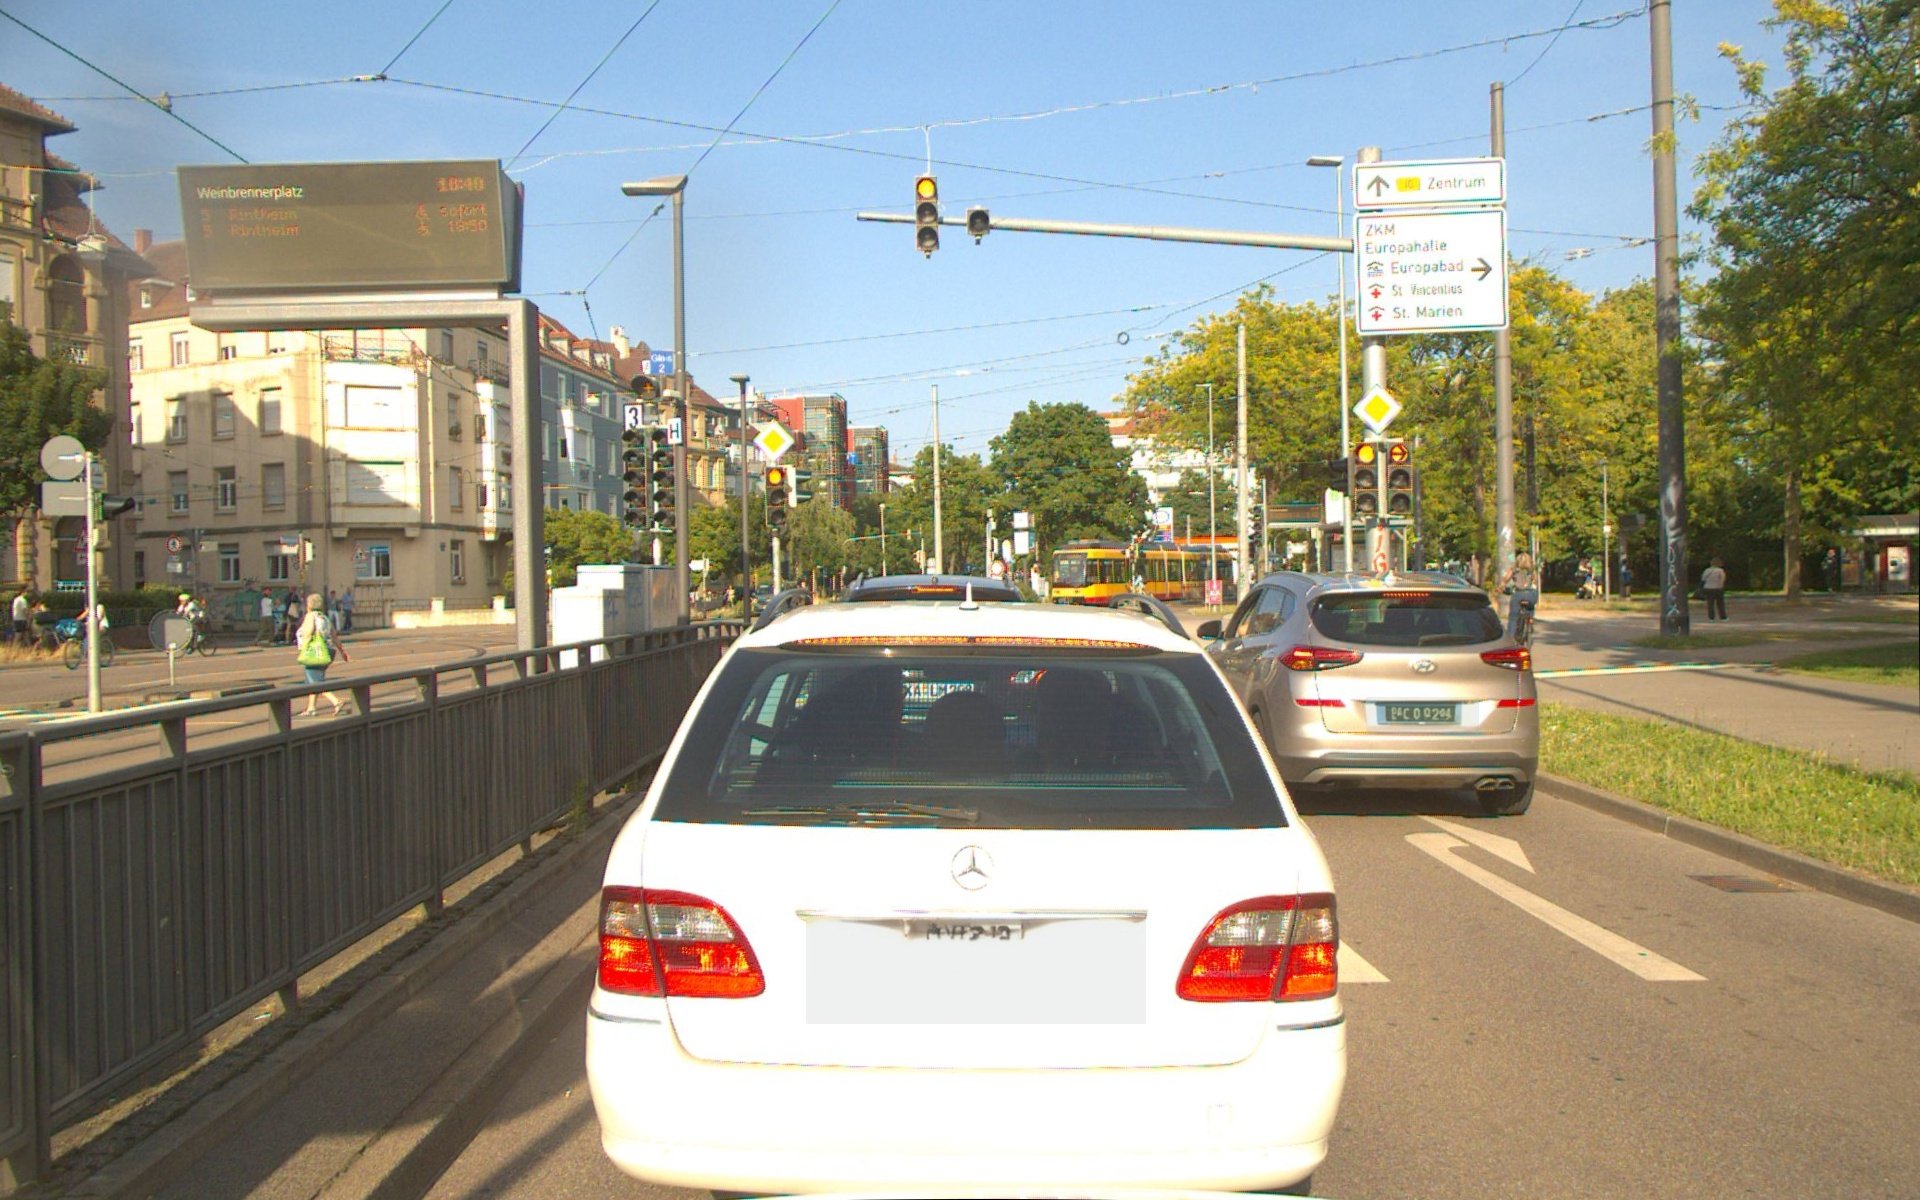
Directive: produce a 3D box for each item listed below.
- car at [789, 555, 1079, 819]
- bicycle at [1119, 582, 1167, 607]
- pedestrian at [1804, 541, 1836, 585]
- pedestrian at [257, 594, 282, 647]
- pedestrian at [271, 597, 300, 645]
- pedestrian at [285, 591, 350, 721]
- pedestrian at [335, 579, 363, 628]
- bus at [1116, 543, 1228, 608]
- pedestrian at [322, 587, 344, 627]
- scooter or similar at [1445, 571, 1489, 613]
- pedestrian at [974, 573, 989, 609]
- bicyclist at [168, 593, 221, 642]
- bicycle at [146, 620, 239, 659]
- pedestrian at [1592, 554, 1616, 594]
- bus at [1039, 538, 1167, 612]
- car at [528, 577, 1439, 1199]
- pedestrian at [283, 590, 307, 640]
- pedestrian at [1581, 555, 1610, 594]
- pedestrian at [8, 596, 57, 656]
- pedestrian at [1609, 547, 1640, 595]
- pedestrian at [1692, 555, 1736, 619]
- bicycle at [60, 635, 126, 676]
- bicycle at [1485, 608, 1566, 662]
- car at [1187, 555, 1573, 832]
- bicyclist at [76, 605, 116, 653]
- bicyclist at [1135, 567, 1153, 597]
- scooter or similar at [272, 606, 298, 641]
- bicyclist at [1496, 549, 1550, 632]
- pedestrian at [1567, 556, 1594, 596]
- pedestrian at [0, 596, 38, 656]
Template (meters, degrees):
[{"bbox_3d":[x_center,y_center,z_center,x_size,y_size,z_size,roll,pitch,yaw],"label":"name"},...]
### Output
[{"bbox_3d":[-0.187,0.552,12.516,1.846,1.680,3.647,1,0,-1],"label":"car"},{"bbox_3d":[9.436,-0.272,85.233,2.430,1.234,0.807,-1,0,7],"label":"bicycle"},{"bbox_3d":[33.030,-1.424,63.562,0.818,1.665,0.803,-1,0,5],"label":"pedestrian"},{"bbox_3d":[-21.719,0.643,52.021,0.497,1.654,0.608,-1,0,0],"label":"pedestrian"},{"bbox_3d":[-22.177,0.689,54.370,0.616,1.568,0.711,-1,0,-1],"label":"pedestrian"},{"bbox_3d":[-8.289,0.710,21.351,0.601,1.627,0.632,-1,0,-7],"label":"pedestrian"},{"bbox_3d":[-26.027,0.150,70.491,0.758,2.049,0.787,-1,0,14],"label":"pedestrian"},{"bbox_3d":[13.100,-1.365,100.752,3.047,3.669,12.581,1,0,25],"label":"bus"},{"bbox_3d":[-26.385,0.296,69.566,0.606,1.689,0.586,-1,0,14],"label":"pedestrian"},{"bbox_3d":[14.006,-0.231,45.711,0.413,1.136,1.322,-1,0,-20],"label":"scooter or similar"},{"bbox_3d":[1.132,-0.484,86.916,0.628,1.889,0.552,-1,0,11],"label":"pedestrian"},{"bbox_3d":[-20.679,0.471,44.700,0.747,1.284,1.175,-1,0,9],"label":"bicyclist"},{"bbox_3d":[-20.675,1.047,44.656,0.768,0.930,3.000,-1,0,7],"label":"bicycle"},{"bbox_3d":[24.604,-0.983,63.234,0.797,1.513,0.700,-1,0,24],"label":"pedestrian"},{"bbox_3d":[7.922,-1.244,89.323,3.046,3.669,12.369,1,0,24],"label":"bus"},{"bbox_3d":[0.018,0.693,5.022,1.759,1.496,3.647,0,0,-1],"label":"car"},{"bbox_3d":[-20.918,0.469,52.004,0.428,1.527,0.549,-1,0,14],"label":"pedestrian"},{"bbox_3d":[24.865,-1.003,64.750,0.799,1.513,0.699,-1,0,-12],"label":"pedestrian"},{"bbox_3d":[-24.803,0.693,44.248,0.812,1.579,0.782,-1,0,21],"label":"pedestrian"},{"bbox_3d":[25.883,-1.133,64.410,0.784,1.816,0.838,-1,0,-5],"label":"pedestrian"},{"bbox_3d":[19.825,-0.334,43.485,0.748,1.665,0.797,-2,0,-40],"label":"pedestrian"},{"bbox_3d":[-19.969,1.267,38.130,0.515,0.849,1.687,-1,0,5],"label":"bicycle"},{"bbox_3d":[8.969,0.537,26.309,0.485,0.770,2.168,-2,0,-1],"label":"bicycle"},{"bbox_3d":[2.891,0.571,12.211,1.846,1.680,3.647,-2,0,-1],"label":"car"},{"bbox_3d":[-19.973,0.665,38.227,0.502,1.062,0.680,-1,0,5],"label":"bicyclist"},{"bbox_3d":[9.481,-0.937,85.216,0.842,1.507,0.790,-1,0,8],"label":"bicyclist"},{"bbox_3d":[-21.539,0.749,52.754,0.532,1.098,0.683,1,0,-1],"label":"scooter or similar"},{"bbox_3d":[8.958,-0.157,26.328,0.523,1.284,0.869,-2,0,-1],"label":"bicyclist"},{"bbox_3d":[24.057,-0.937,64.130,0.809,1.513,0.690,-2,0,-42],"label":"pedestrian"},{"bbox_3d":[-25.577,0.703,44.702,0.812,1.579,0.782,-1,0,21],"label":"pedestrian"}]
